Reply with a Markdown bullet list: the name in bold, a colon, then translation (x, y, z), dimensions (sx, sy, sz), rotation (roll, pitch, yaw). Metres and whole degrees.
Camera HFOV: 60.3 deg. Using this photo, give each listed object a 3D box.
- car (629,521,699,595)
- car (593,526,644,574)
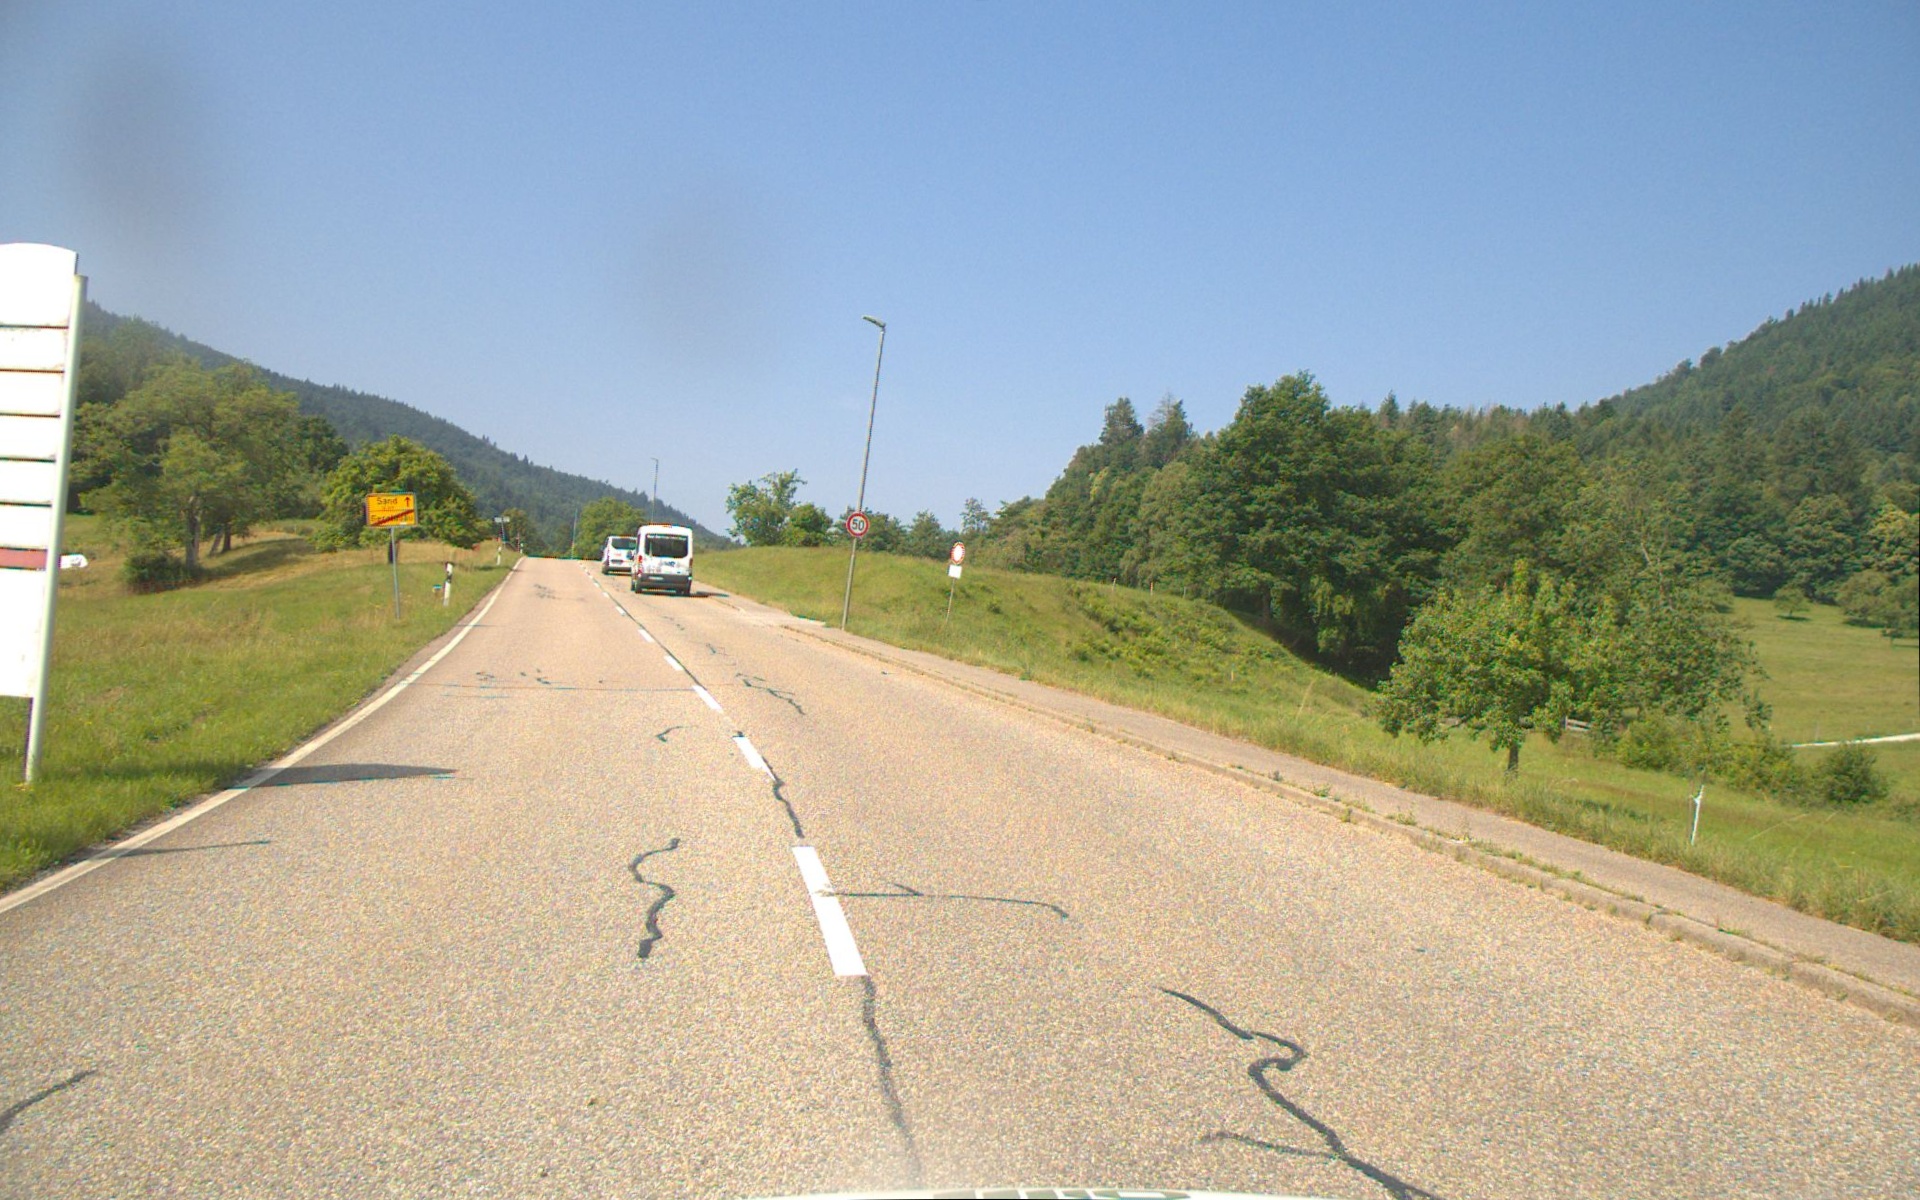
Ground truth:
- **car**: translation (-10.996, -1.488, 61.247), dimensions (2.185, 2.570, 4.966), rotation (1, 0, -14)
- **car**: translation (-18.011, -2.580, 87.033), dimensions (2.187, 2.327, 4.961), rotation (1, 0, -17)
